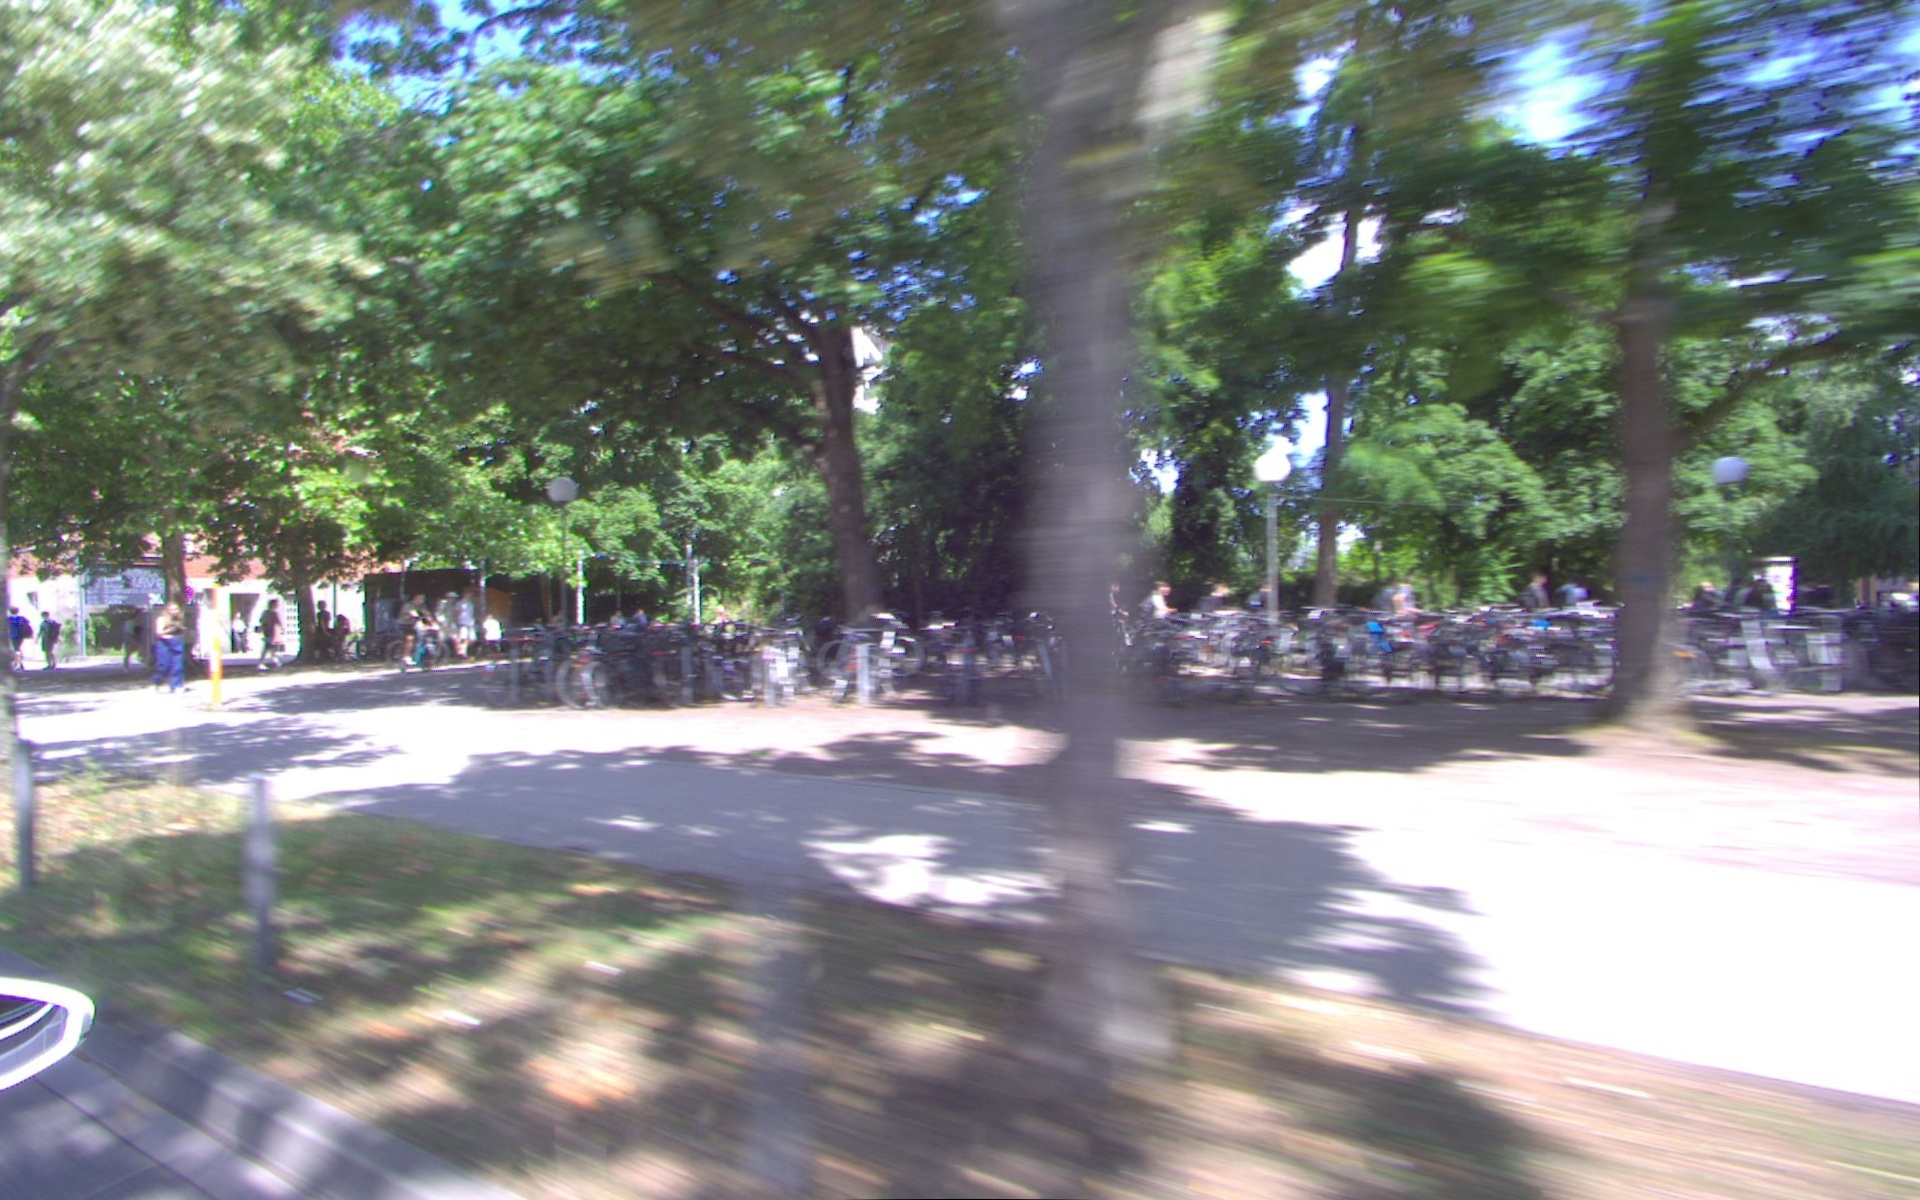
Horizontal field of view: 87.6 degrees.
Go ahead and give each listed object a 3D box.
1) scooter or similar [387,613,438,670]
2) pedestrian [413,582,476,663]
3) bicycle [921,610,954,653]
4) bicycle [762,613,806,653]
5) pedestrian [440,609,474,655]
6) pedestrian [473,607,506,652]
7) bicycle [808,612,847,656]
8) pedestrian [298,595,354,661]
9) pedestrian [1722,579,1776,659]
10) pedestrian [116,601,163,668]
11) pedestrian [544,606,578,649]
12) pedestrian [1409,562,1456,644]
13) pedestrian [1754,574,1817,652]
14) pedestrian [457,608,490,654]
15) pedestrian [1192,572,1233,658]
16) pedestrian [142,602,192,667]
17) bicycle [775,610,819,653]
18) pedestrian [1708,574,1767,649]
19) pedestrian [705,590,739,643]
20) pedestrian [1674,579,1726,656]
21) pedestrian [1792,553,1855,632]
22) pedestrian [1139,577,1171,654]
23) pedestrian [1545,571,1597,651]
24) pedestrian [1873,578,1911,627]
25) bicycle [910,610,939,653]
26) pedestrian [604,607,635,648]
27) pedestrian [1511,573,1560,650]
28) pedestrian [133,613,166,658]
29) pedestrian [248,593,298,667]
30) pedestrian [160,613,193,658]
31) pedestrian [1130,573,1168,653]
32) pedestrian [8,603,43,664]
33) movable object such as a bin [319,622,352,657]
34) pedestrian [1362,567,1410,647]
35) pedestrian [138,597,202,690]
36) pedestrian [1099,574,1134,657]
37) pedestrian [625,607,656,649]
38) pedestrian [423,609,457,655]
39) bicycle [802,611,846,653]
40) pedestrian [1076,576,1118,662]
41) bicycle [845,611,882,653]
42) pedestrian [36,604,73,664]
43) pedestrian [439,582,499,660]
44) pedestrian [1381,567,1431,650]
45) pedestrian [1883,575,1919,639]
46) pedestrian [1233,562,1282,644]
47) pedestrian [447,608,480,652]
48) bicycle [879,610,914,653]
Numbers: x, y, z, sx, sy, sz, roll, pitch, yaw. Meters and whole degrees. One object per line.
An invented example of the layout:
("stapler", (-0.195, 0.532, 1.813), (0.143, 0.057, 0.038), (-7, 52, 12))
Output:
("scooter or similar", (-12.250, 0.921, 22.403), (1.276, 1.235, 0.423), (-2, 0, 33))
("pedestrian", (-12.911, 0.561, 25.091), (1.058, 1.975, 0.834), (-1, 2, 12))
("bicycle", (-0.563, 0.799, 25.940), (0.469, 1.053, 1.752), (-1, 1, 11))
("bicycle", (-4.748, 0.878, 27.098), (0.430, 0.992, 1.957), (-1, 1, 13))
("pedestrian", (-15.353, 0.976, 30.553), (0.718, 1.365, 0.568), (0, 3, 28))
("pedestrian", (-14.833, 0.919, 31.574), (0.718, 1.365, 0.568), (0, 3, 28))
("bicycle", (-3.425, 0.873, 26.030), (0.426, 1.053, 1.782), (-1, 1, 11))
("pedestrian", (-17.597, 0.770, 27.793), (0.904, 1.799, 0.958), (0, 1, 24))
("pedestrian", (18.027, 0.428, 22.875), (0.710, 1.799, 0.741), (-1, 1, -28))
("pedestrian", (-21.056, 0.867, 25.699), (0.777, 1.683, 0.695), (-1, 1, 32))
("pedestrian", (-12.967, 0.887, 32.565), (0.708, 1.365, 0.665), (0, 3, 28))
("pedestrian", (10.556, 0.062, 22.391), (0.707, 1.799, 0.744), (0, 1, 0))
("pedestrian", (19.733, 0.304, 23.947), (0.977, 1.799, 0.838), (-1, 1, -28))
("pedestrian", (-15.093, 0.946, 31.066), (0.718, 1.365, 0.568), (0, 3, 28))
("pedestrian", (5.388, 0.323, 21.406), (0.707, 1.799, 0.744), (0, 1, 1))
("pedestrian", (-20.850, 0.898, 26.330), (0.812, 1.683, 0.763), (-1, 1, 32))
("bicycle", (-4.355, 0.829, 26.893), (0.427, 1.053, 1.957), (-1, 1, 13))
("pedestrian", (19.314, 0.278, 24.882), (0.977, 1.799, 0.838), (-1, 1, -28))
("pedestrian", (-7.434, 0.518, 31.287), (0.707, 1.604, 0.665), (0, 3, 28))
("pedestrian", (17.579, 0.413, 23.799), (0.710, 1.799, 0.741), (-1, 1, -26))
("pedestrian", (20.093, -0.162, 23.308), (0.799, 1.799, 0.851), (-1, 1, -26))
("pedestrian", (4.660, 0.362, 23.983), (0.707, 1.799, 0.744), (0, 1, 7))
("pedestrian", (14.066, 0.244, 23.072), (0.708, 1.799, 0.743), (-1, 1, -20))
("pedestrian", (29.804, 0.070, 32.029), (0.505, 1.533, 0.690), (-2, 3, -11))
("bicycle", (-0.910, 0.806, 26.005), (0.341, 1.053, 1.752), (-1, 1, 11))
("pedestrian", (-11.071, 0.894, 32.560), (0.612, 1.289, 0.665), (0, 3, 28))
("pedestrian", (13.760, 0.268, 23.945), (0.708, 1.799, 0.743), (-1, 1, -20))
("pedestrian", (-29.735, 1.312, 36.742), (0.669, 1.628, 0.657), (-1, 1, 17))
("pedestrian", (-17.859, 0.775, 26.039), (0.812, 1.879, 0.763), (-1, 1, 32))
("pedestrian", (-28.817, 1.293, 36.852), (0.669, 1.628, 0.657), (-1, 1, 17))
("pedestrian", (4.314, 0.294, 22.826), (0.709, 1.799, 0.742), (0, 1, 24))
("pedestrian", (-28.199, 1.002, 30.218), (0.400, 1.822, 0.594), (1, 3, 28))
("movable object such as a bin", (-19.867, 1.258, 31.852), (0.732, 1.085, 0.598), (-3, -1, 33))
("pedestrian", (9.693, 0.156, 22.805), (0.707, 1.799, 0.744), (0, 1, -8))
("pedestrian", (-13.945, 0.757, 17.669), (0.914, 1.592, 0.567), (-1, 1, 32))
("pedestrian", (3.482, 0.342, 22.214), (0.707, 1.799, 0.744), (0, 1, 14))
("pedestrian", (-10.270, 0.887, 32.198), (0.612, 1.289, 0.665), (0, 3, 28))
("pedestrian", (-16.108, 0.975, 31.029), (0.718, 1.365, 0.568), (0, 3, 28))
("bicycle", (-3.628, 0.835, 26.871), (0.470, 1.053, 1.957), (-1, 1, 13))
("pedestrian", (2.917, 0.401, 21.326), (0.709, 1.799, 0.742), (0, 1, 24))
("bicycle", (-2.536, 0.831, 26.484), (0.469, 1.053, 1.782), (-1, 1, 11))
("pedestrian", (-28.116, 1.045, 31.106), (0.716, 1.822, 0.594), (1, 3, 29))
("pedestrian", (-12.728, 0.532, 25.974), (1.058, 1.975, 0.834), (-1, 2, 12))
("pedestrian", (9.794, 0.183, 22.009), (0.707, 1.799, 0.744), (0, 1, -8))
("pedestrian", (23.954, 0.174, 25.258), (0.709, 1.590, 0.742), (-1, 1, -21))
("pedestrian", (6.642, 0.072, 22.426), (0.954, 1.799, 0.963), (0, 1, 10))
("pedestrian", (-15.729, 0.936, 31.746), (0.718, 1.365, 0.568), (0, 3, 28))
("bicycle", (-1.671, 0.806, 26.473), (0.469, 1.053, 1.831), (-1, 1, 11))
